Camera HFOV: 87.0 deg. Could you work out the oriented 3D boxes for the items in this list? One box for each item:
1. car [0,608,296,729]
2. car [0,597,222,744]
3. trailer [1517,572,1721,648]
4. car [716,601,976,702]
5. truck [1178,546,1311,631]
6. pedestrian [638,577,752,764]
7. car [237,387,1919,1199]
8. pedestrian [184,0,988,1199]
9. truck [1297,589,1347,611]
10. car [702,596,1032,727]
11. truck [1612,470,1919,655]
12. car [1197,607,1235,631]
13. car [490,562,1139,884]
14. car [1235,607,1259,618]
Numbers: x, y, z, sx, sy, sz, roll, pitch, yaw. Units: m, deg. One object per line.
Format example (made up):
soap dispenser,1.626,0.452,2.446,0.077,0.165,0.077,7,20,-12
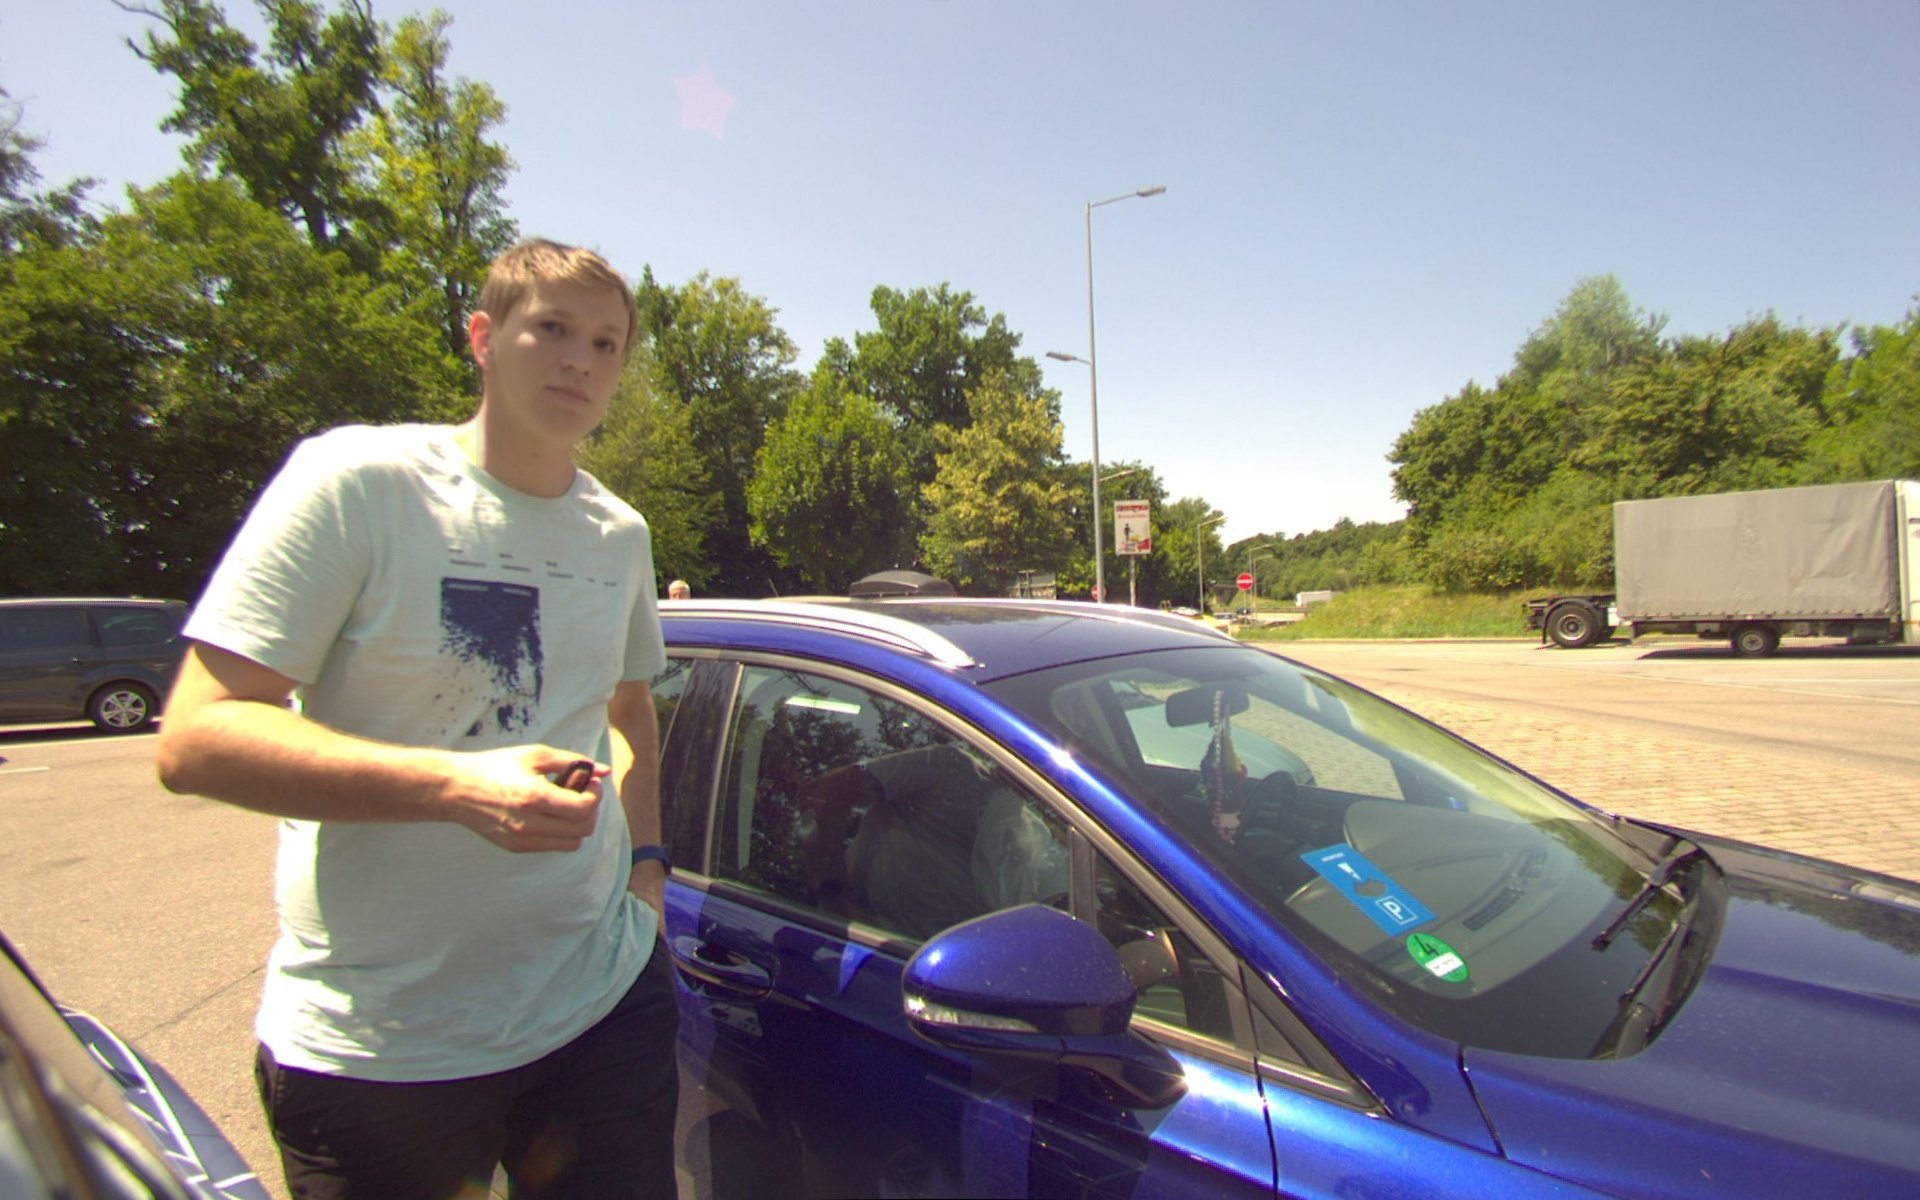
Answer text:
car,-12.725,0.978,15.619,3.910,1.598,1.782,-1,-1,-43
car,-11.696,0.852,12.568,3.910,1.701,1.782,-1,-1,-43
trailer,15.765,0.280,24.332,3.900,1.674,1.456,-3,-1,41
car,-2.026,0.834,17.097,4.466,1.476,1.756,-3,-1,40
truck,13.313,-0.479,47.435,5.782,3.720,1.987,-2,-1,20
pedestrian,-2.426,0.619,9.256,0.759,1.614,0.663,-3,-1,41
car,0.226,0.633,2.112,4.466,1.476,1.756,-3,-1,40
pedestrian,-0.414,0.348,1.191,0.578,1.722,0.678,-3,-2,41
truck,71.022,0.092,198.974,3.426,3.554,13.567,-2,-2,-6
car,-1.374,0.762,13.544,4.466,1.476,1.756,-3,-1,40
truck,16.743,-0.638,18.868,7.348,3.152,2.339,-3,-2,41
car,17.215,1.279,68.001,1.986,1.530,3.971,-2,-1,21
car,-1.221,0.635,6.769,4.466,1.476,1.756,-3,-1,40
car,52.337,2.270,184.557,1.965,1.785,4.013,-1,-1,-23
